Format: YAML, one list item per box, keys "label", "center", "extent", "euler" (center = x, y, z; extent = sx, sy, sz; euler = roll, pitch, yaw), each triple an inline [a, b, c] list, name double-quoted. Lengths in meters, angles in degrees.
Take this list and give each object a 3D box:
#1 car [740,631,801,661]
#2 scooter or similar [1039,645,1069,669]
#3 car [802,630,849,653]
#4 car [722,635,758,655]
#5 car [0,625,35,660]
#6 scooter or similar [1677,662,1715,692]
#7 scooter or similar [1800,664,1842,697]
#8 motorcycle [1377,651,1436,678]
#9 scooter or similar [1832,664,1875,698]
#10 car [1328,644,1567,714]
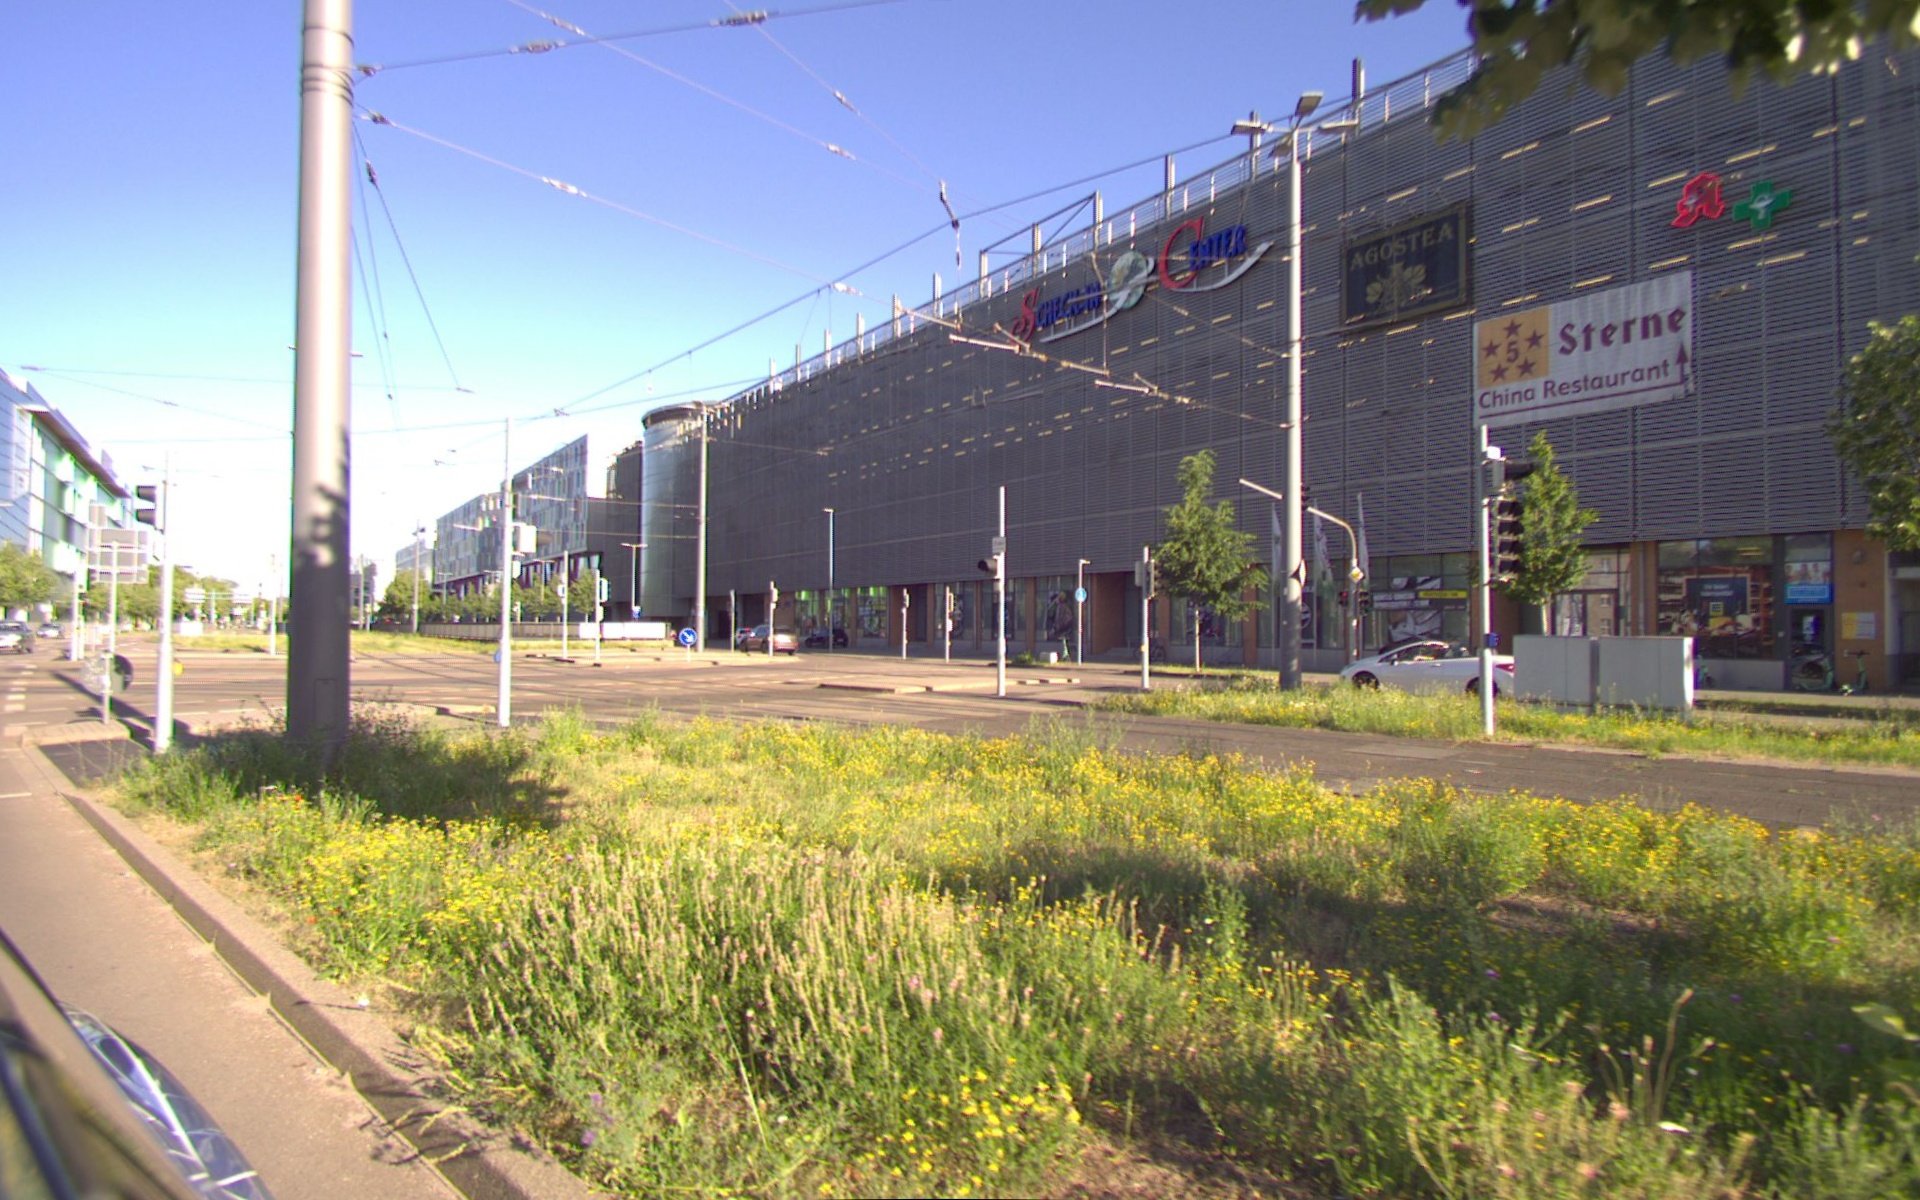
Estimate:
- label: "car"
  center: [-10.442, 2.521, 55.642]
  extent: [1.781, 1.587, 4.306]
  euler: [3, -3, -32]
- label: "scooter or similar"
  center: [4.348, 2.633, 46.826]
  extent: [1.362, 1.050, 0.430]
  euler: [-1, -1, 42]
- label: "car"
  center: [-9.747, 2.969, 73.177]
  extent: [1.560, 1.541, 3.757]
  euler: [1, -1, -40]
- label: "car"
  center: [-16.241, 3.289, 74.613]
  extent: [1.663, 1.382, 3.602]
  euler: [1, -2, -28]
- label: "car"
  center: [-40.070, 1.753, 42.398]
  extent: [1.595, 1.440, 3.775]
  euler: [2, -2, -38]
- label: "scooter or similar"
  center: [22.683, 2.360, 31.194]
  extent: [0.286, 0.900, 0.903]
  euler: [2, -3, -36]
- label: "scooter or similar"
  center: [24.385, 2.285, 28.664]
  extent: [0.890, 0.900, 0.290]
  euler: [0, -2, 5]
- label: "motorcycle"
  center: [16.498, 2.384, 37.443]
  extent: [0.421, 0.927, 2.029]
  euler: [2, -2, -37]
- label: "scooter or similar"
  center: [24.545, 2.232, 27.819]
  extent: [0.889, 0.900, 0.291]
  euler: [0, -2, 1]
- label: "car"
  center: [10.601, 1.672, 22.274]
  extent: [1.783, 1.338, 4.412]
  euler: [3, -3, -40]
